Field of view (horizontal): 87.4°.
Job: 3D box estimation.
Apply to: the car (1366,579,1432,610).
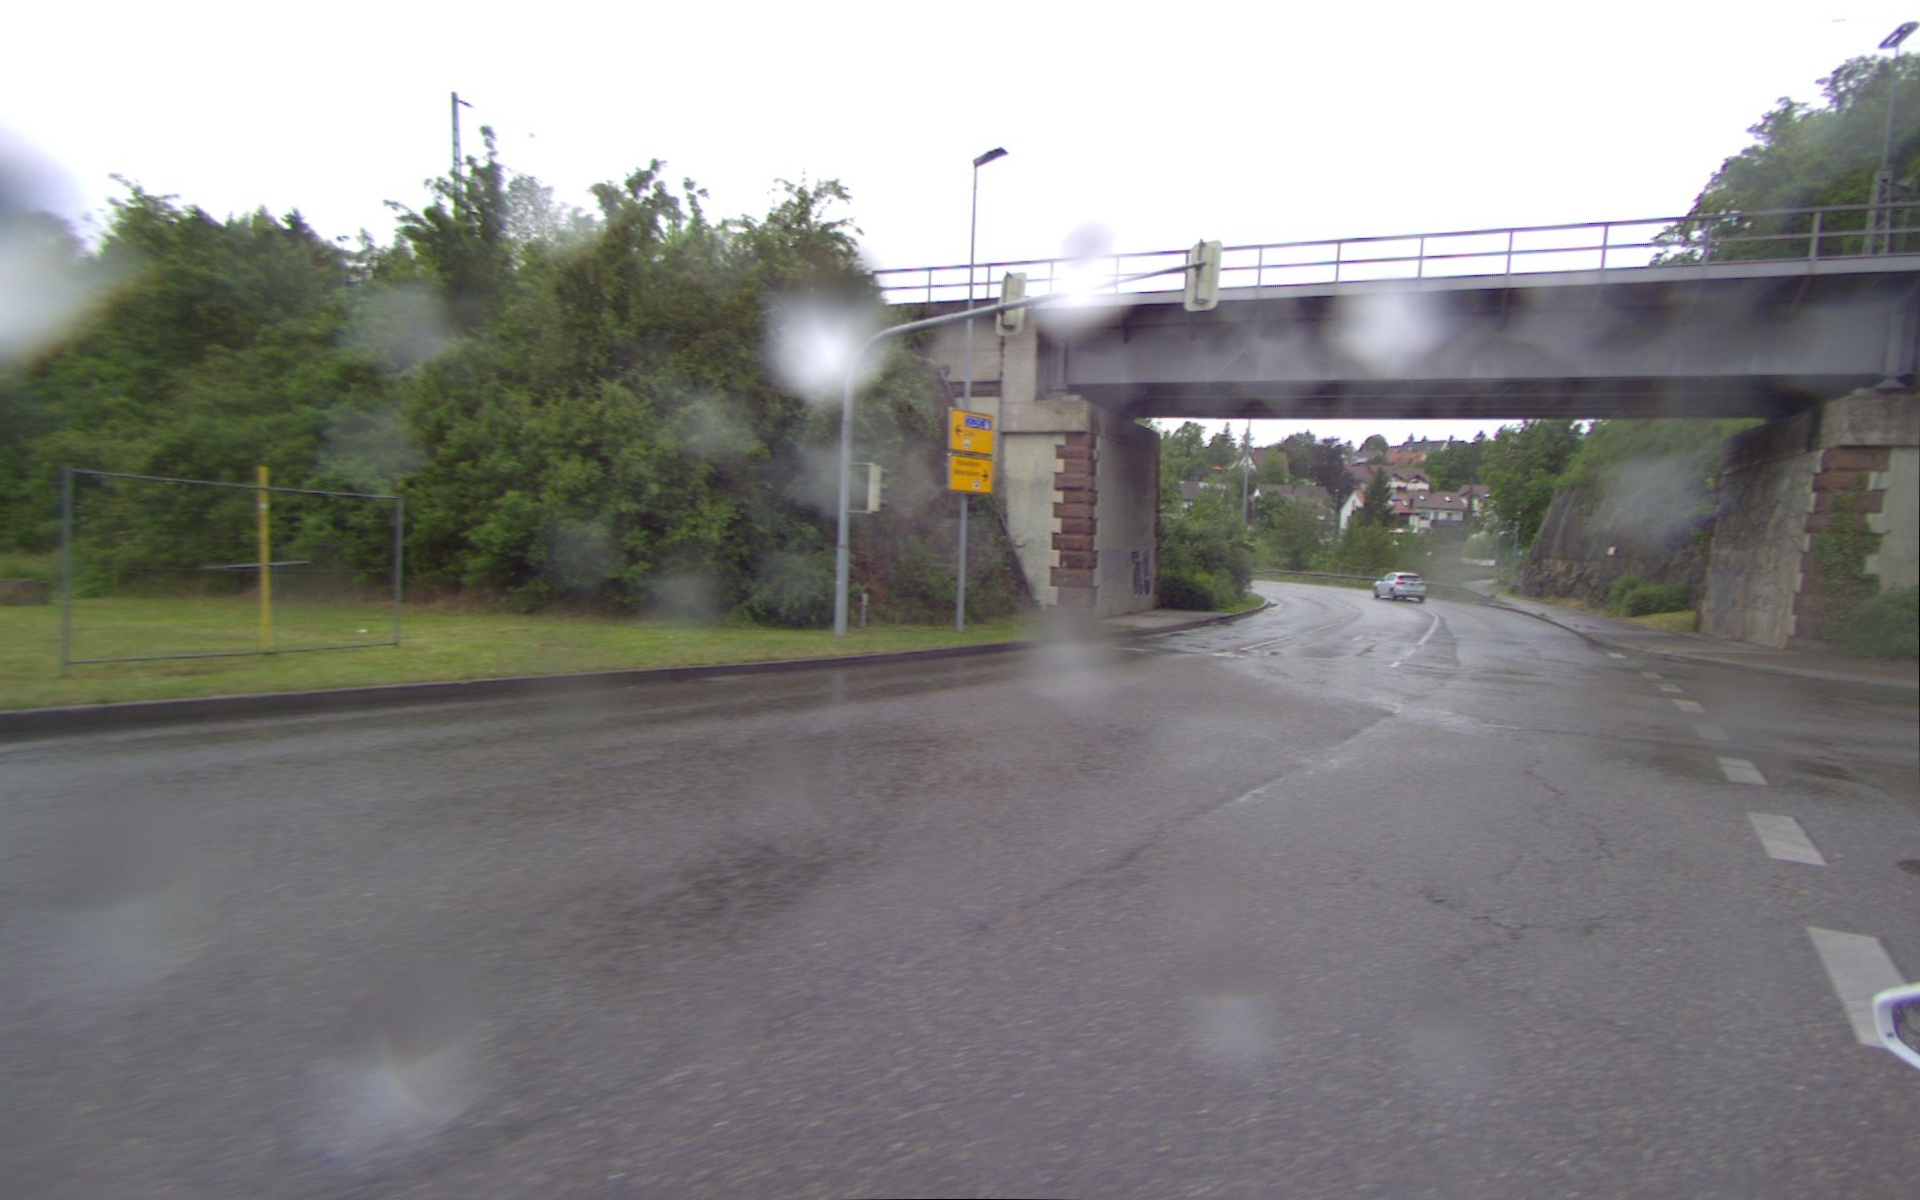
[{"bbox_3d":[23.636,-0.297,54.214,1.960,1.583,4.001,2,1,4],"label":"car"}]
